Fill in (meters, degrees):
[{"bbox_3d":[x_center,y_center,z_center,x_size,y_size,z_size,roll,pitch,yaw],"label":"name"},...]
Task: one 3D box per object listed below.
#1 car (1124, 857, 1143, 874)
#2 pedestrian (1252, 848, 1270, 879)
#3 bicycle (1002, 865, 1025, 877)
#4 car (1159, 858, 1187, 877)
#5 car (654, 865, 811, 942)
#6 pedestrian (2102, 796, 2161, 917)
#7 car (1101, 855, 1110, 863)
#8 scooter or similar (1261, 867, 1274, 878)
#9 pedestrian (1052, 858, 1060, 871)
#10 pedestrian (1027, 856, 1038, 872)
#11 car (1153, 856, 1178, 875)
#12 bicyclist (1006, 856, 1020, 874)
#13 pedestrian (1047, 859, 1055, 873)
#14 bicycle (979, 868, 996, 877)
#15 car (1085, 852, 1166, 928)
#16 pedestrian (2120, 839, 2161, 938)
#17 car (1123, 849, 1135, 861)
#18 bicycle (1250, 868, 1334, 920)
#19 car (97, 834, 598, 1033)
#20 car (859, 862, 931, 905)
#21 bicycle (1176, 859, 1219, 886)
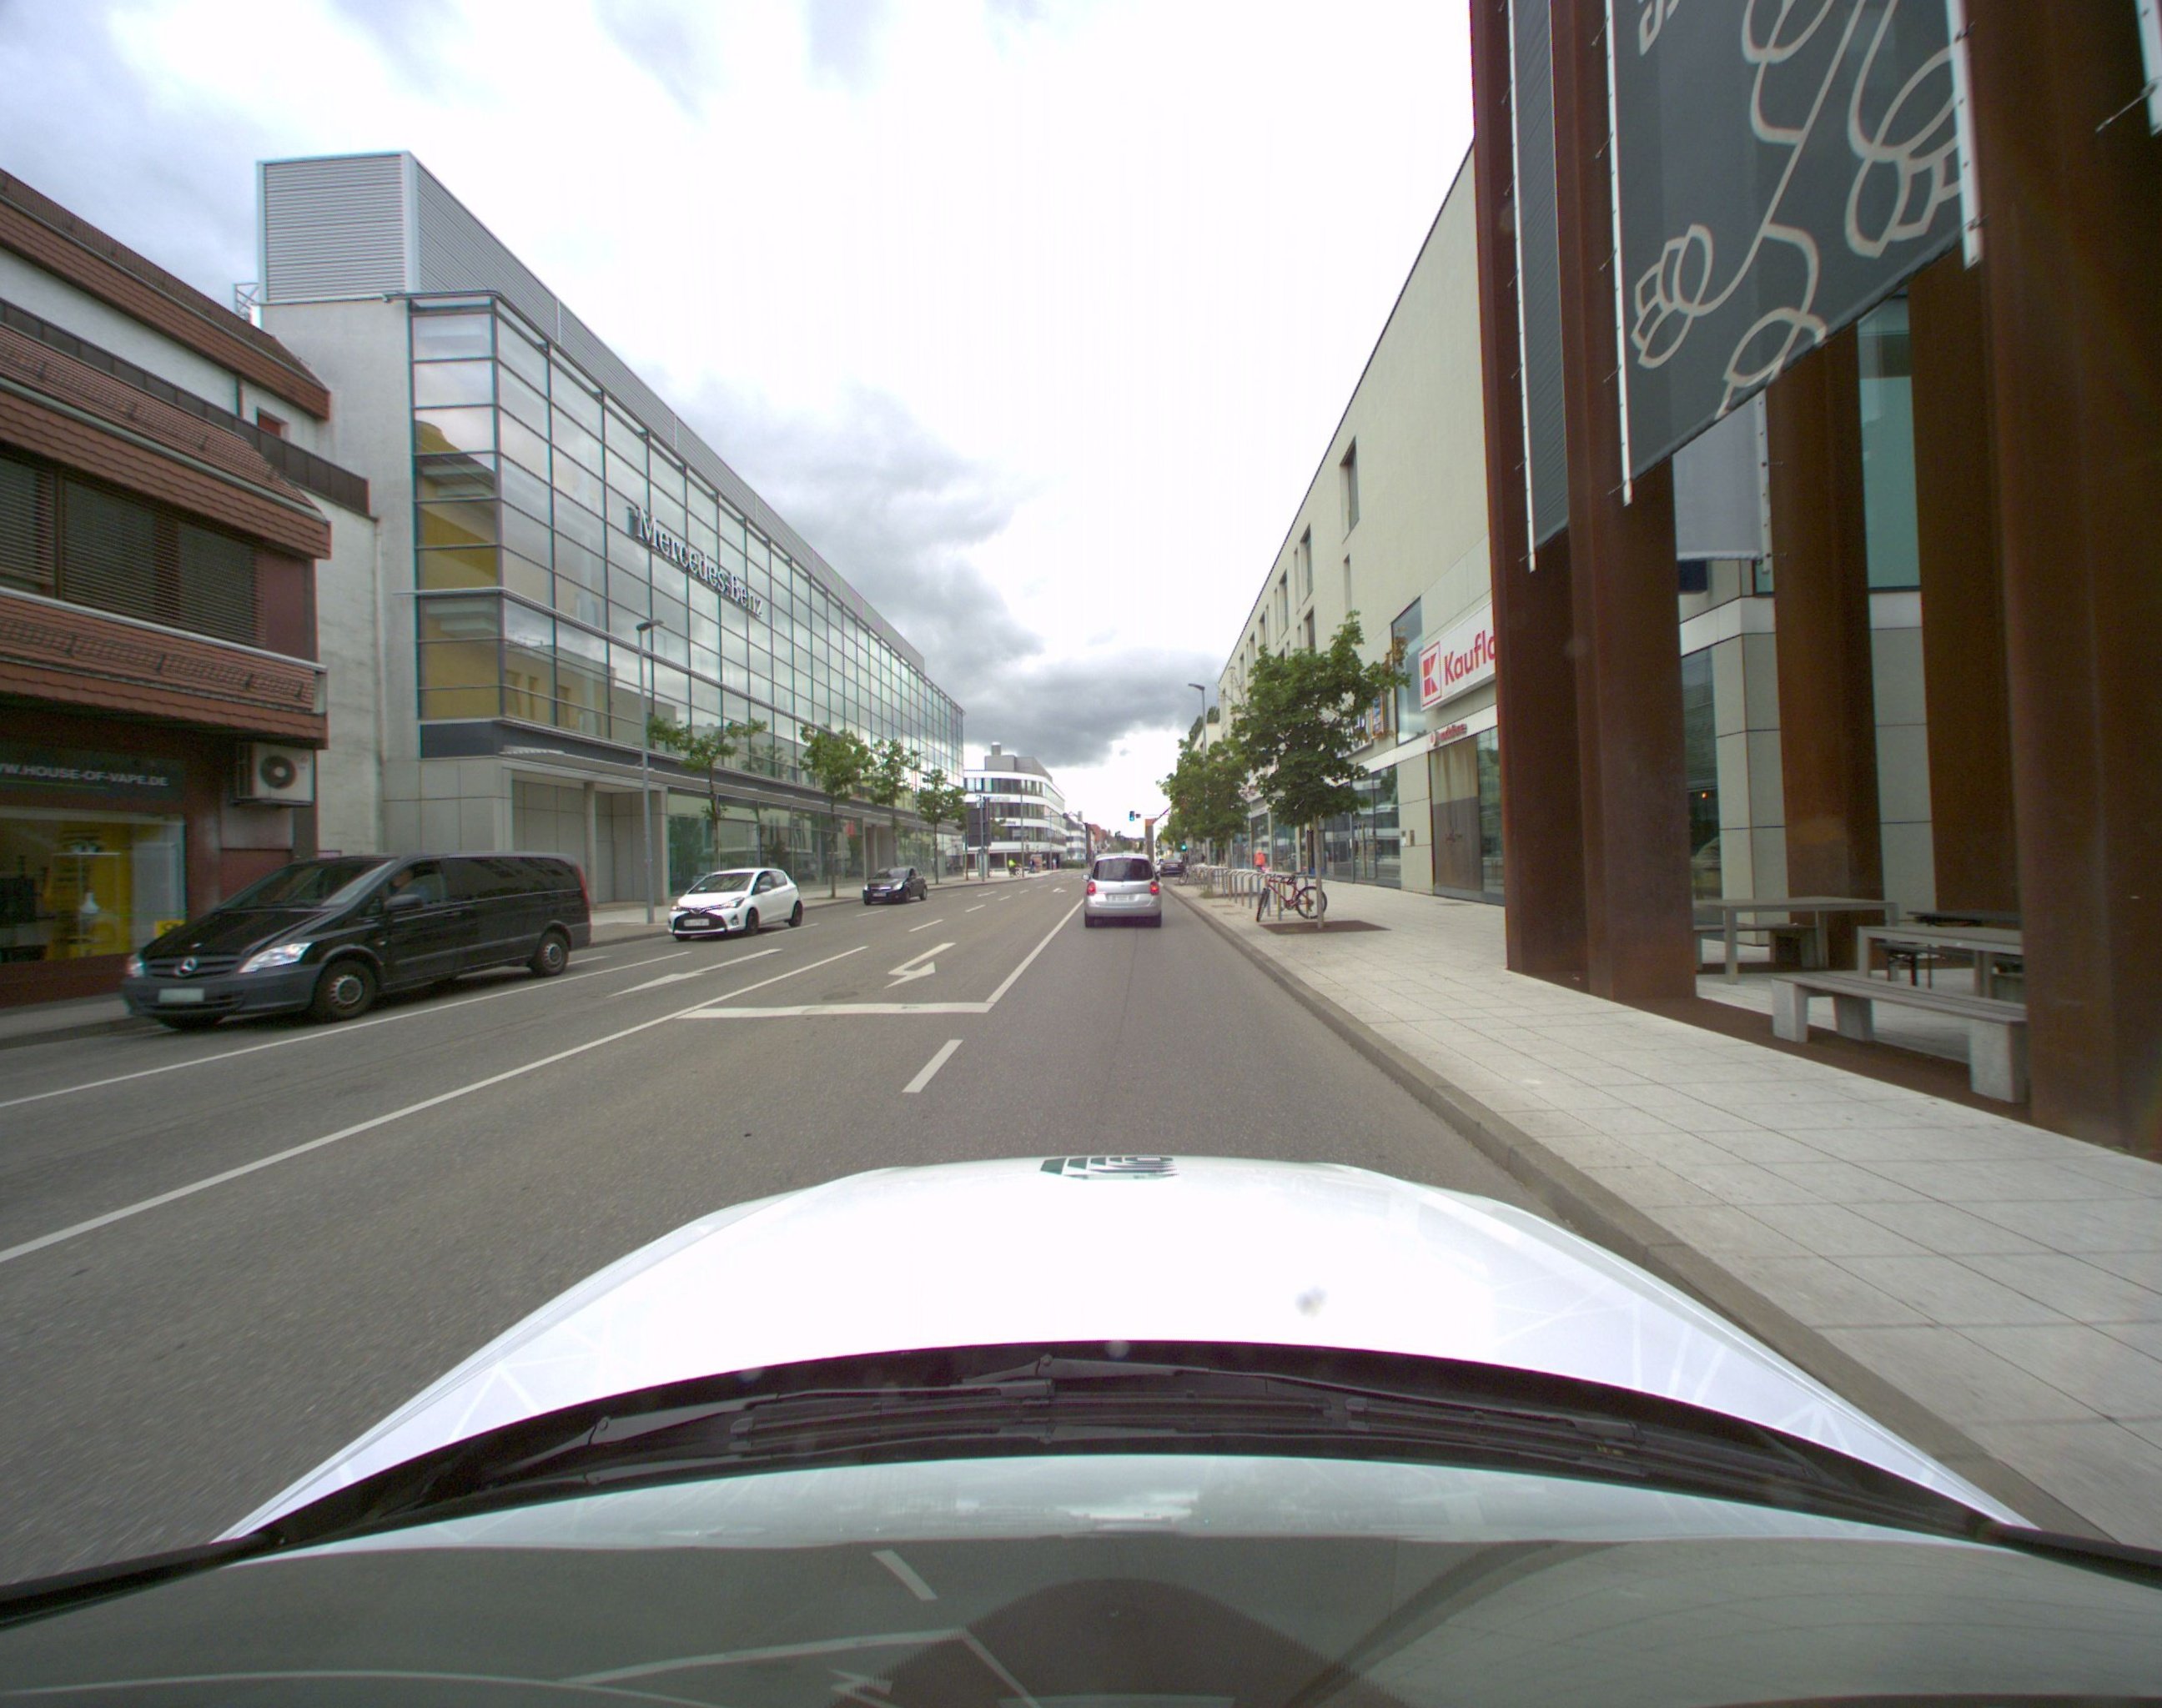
[{"bbox_3d":[5.006,1.112,78.602,1.664,1.554,3.643,0,0,1],"label":"car"},{"bbox_3d":[9.534,0.476,43.215,0.707,1.574,0.813,-5,-1,3],"label":"pedestrian"},{"bbox_3d":[-6.343,1.574,76.099,1.012,1.018,3.101,1,-1,-28],"label":"bicycle"},{"bbox_3d":[6.863,0.974,60.816,1.869,1.335,4.004,0,0,3],"label":"car"},{"bbox_3d":[-7.857,1.050,18.798,1.653,1.465,4.003,-3,0,3],"label":"car"},{"bbox_3d":[14.831,0.031,11.236,0.520,1.632,0.736,-2,-1,5],"label":"pedestrian"},{"bbox_3d":[6.618,1.307,220.584,2.161,2.013,4.262,-2,0,3],"label":"car"},{"bbox_3d":[9.701,0.955,42.378,0.547,0.546,0.643,-5,0,3],"label":"scooter or similar"},{"bbox_3d":[-3.581,1.461,118.456,0.956,1.833,1.251,-2,0,3],"label":"pedestrian"},{"bbox_3d":[-5.664,1.192,95.085,1.245,1.833,0.962,-2,0,-6],"label":"pedestrian"},{"bbox_3d":[6.995,0.969,67.511,1.869,1.509,4.004,0,0,3],"label":"car"},{"bbox_3d":[-6.343,1.023,76.119,1.012,1.660,0.924,1,-1,-28],"label":"bicyclist"},{"bbox_3d":[-4.180,1.696,114.196,0.956,1.833,1.251,-2,0,3],"label":"pedestrian"},{"bbox_3d":[-9.508,1.882,82.781,0.832,0.898,2.501,-2,0,-30],"label":"bicycle"},{"bbox_3d":[0.950,0.750,18.579,1.664,1.554,3.642,0,0,1],"label":"car"},{"bbox_3d":[13.146,0.408,9.830,0.502,1.185,0.524,-2,-1,4],"label":"pedestrian"},{"bbox_3d":[9.156,0.176,154.963,2.161,2.013,4.262,-2,0,3],"label":"car"},{"bbox_3d":[4.308,0.808,16.739,1.553,0.992,0.754,-2,0,6],"label":"bicycle"},{"bbox_3d":[-8.795,0.804,10.594,1.858,1.909,4.902,-3,0,3],"label":"car"},{"bbox_3d":[-7.279,1.122,32.258,1.653,1.480,4.003,-3,0,3],"label":"car"},{"bbox_3d":[5.231,0.830,36.696,1.818,1.074,0.752,-3,0,1],"label":"bicycle"}]
